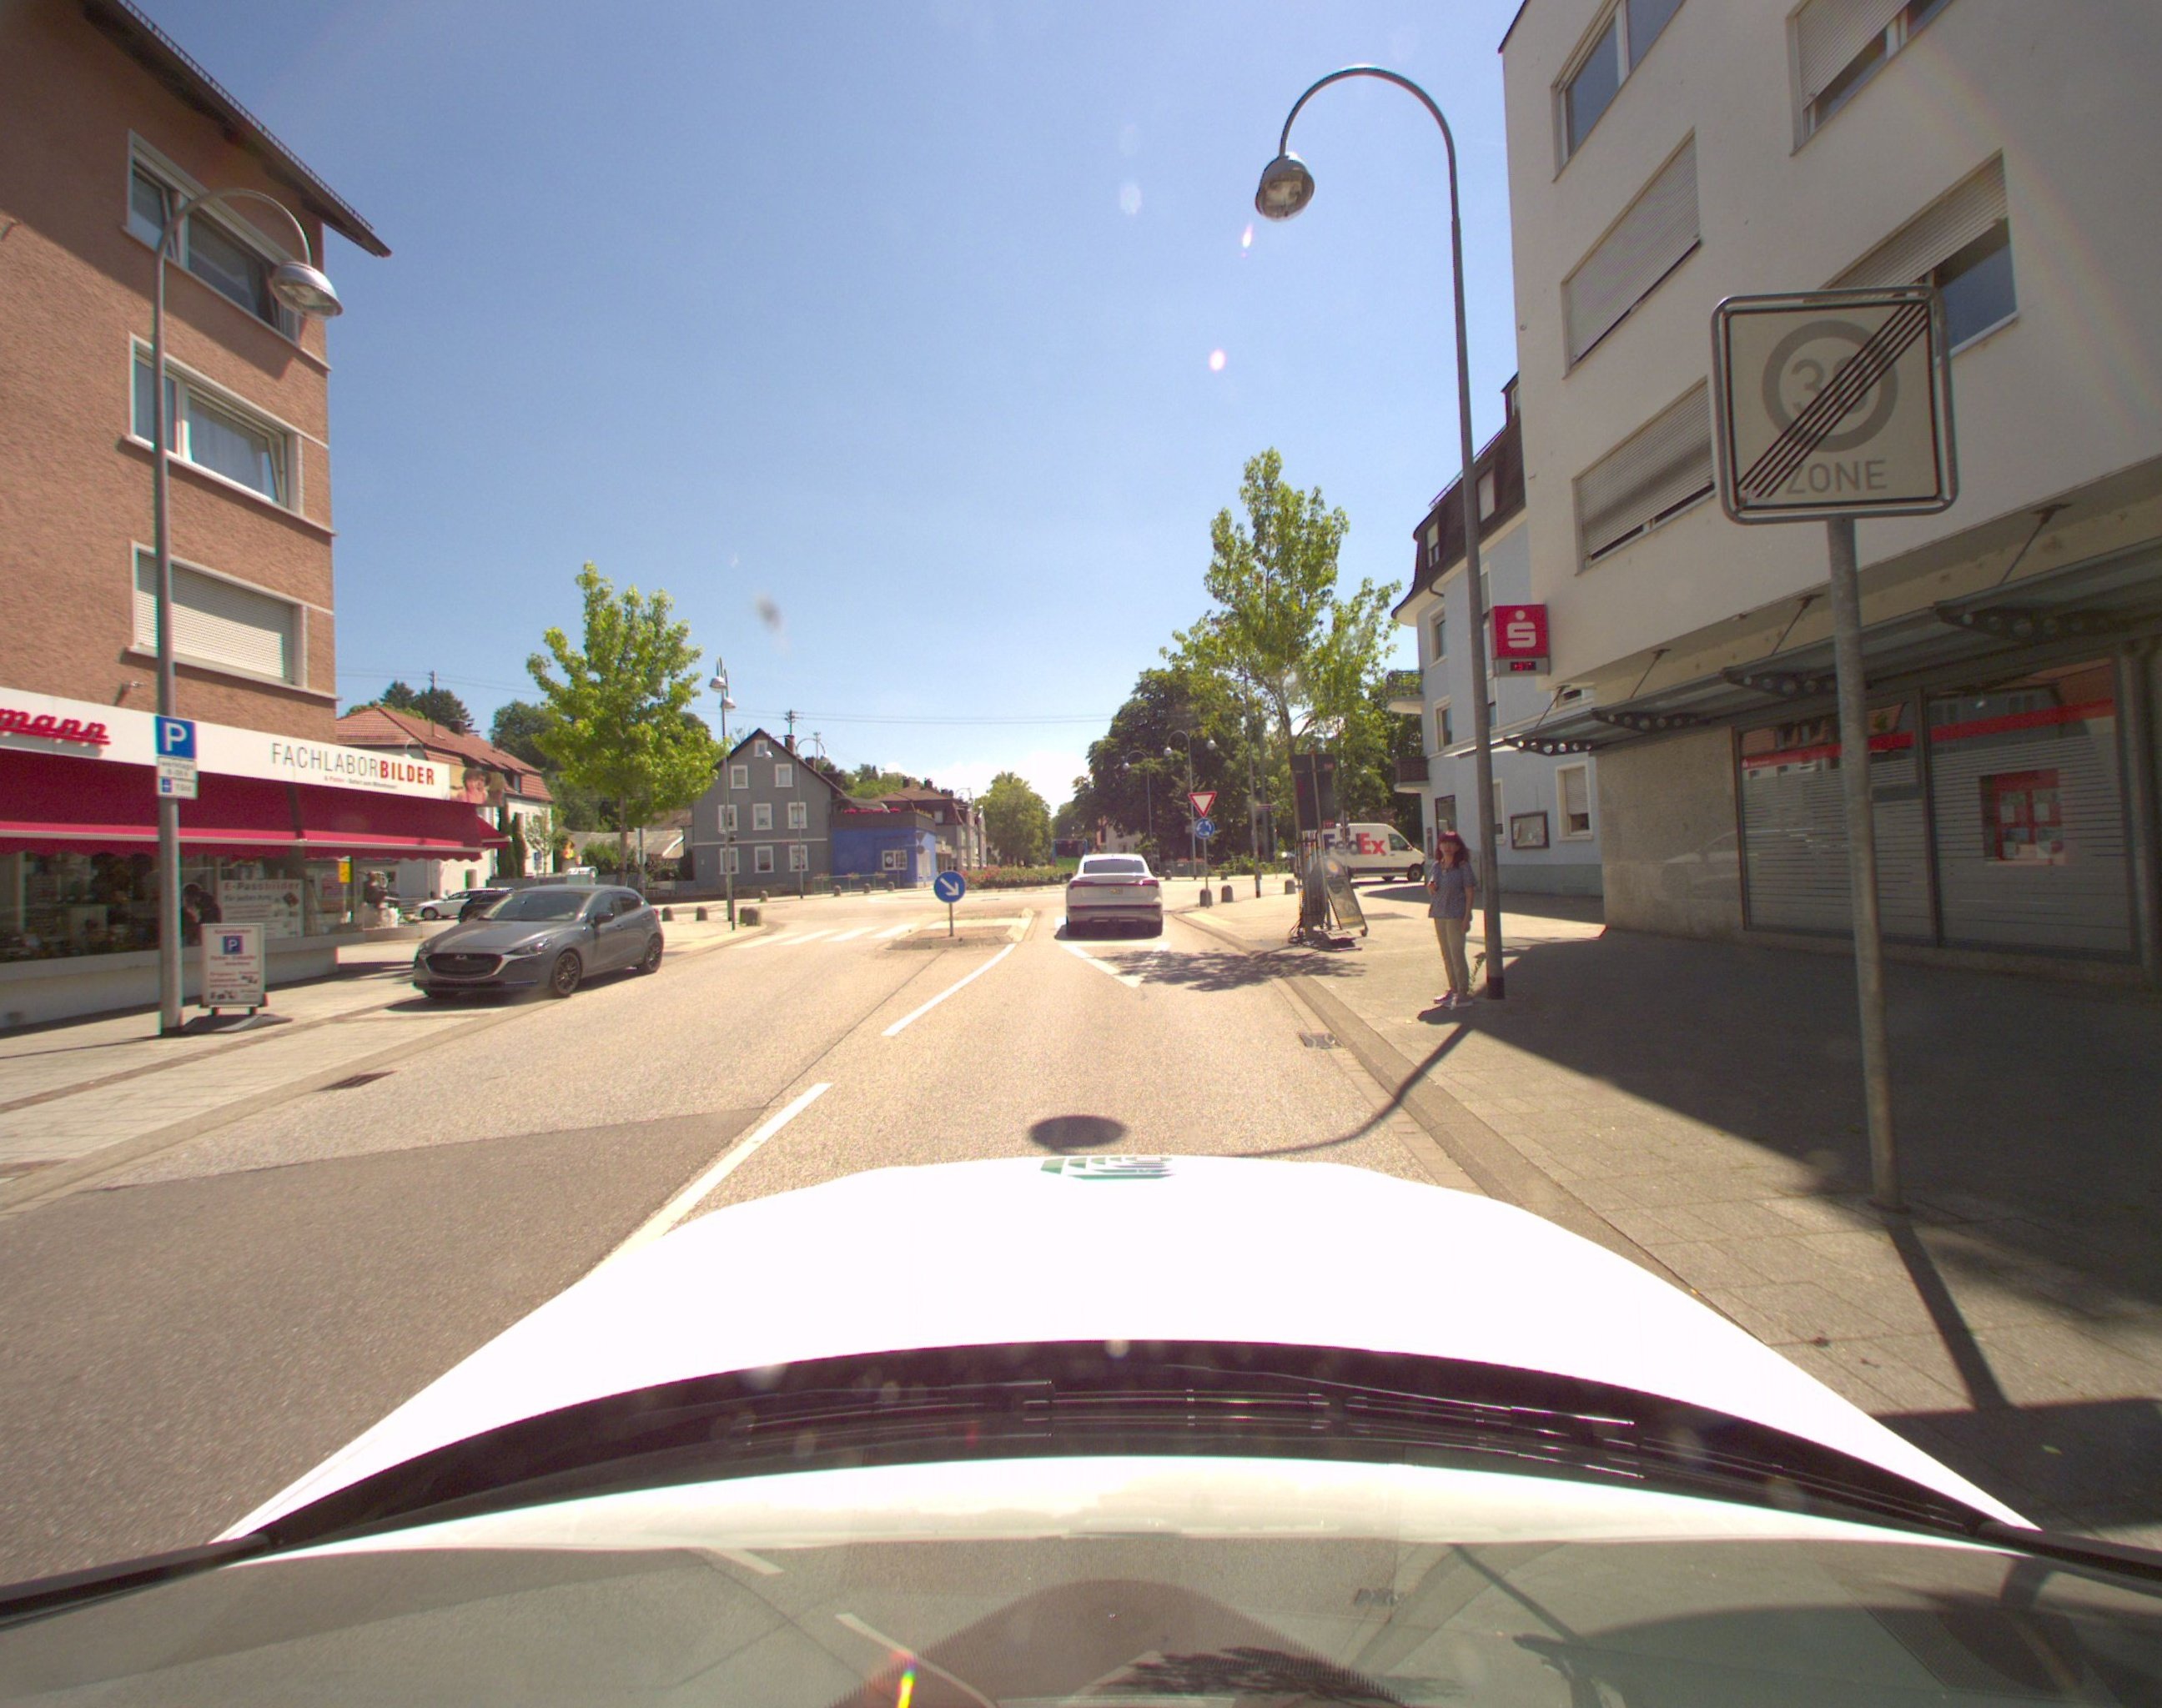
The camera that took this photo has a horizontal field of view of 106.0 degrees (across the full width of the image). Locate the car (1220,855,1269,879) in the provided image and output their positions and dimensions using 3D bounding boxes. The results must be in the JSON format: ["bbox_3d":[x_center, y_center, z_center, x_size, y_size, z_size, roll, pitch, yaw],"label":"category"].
[{"bbox_3d":[11.854,0.949,59.159,3.054,1.552,1.626,-3,0,-15],"label":"car"}]

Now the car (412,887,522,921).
[{"bbox_3d":[-31.112,2.503,41.380,4.076,1.391,1.600,-2,2,-18],"label":"car"}]

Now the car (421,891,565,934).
[{"bbox_3d":[-23.880,2.357,33.193,4.413,1.457,1.767,-3,0,-3],"label":"car"}]

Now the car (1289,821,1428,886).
[{"bbox_3d":[11.863,-0.046,34.861,5.481,2.481,1.988,-3,0,-18],"label":"car"}]

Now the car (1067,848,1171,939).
[{"bbox_3d":[0.702,0.740,17.275,1.892,1.662,4.408,-1,0,0],"label":"car"}]

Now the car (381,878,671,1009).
[{"bbox_3d":[-7.749,1.146,11.922,1.664,1.486,4.054,0,-1,-4],"label":"car"}]

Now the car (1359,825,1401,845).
[{"bbox_3d":[32.542,-2.036,88.612,3.950,2.013,2.012,-3,0,25],"label":"car"}]

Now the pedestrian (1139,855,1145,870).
[{"bbox_3d":[6.316,0.852,84.417,0.488,1.522,0.541,-2,-1,-7],"label":"pedestrian"}]

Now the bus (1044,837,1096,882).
[{"bbox_3d":[-1.134,0.553,66.685,3.697,3.171,18.050,0,-1,-2],"label":"bus"}]

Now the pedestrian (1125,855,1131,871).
[{"bbox_3d":[4.897,0.958,84.600,0.502,1.650,0.578,-2,-1,-7],"label":"pedestrian"}]

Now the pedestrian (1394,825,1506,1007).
[{"bbox_3d":[3.438,0.562,7.627,0.730,1.610,0.559,-3,-1,0],"label":"pedestrian"}]
